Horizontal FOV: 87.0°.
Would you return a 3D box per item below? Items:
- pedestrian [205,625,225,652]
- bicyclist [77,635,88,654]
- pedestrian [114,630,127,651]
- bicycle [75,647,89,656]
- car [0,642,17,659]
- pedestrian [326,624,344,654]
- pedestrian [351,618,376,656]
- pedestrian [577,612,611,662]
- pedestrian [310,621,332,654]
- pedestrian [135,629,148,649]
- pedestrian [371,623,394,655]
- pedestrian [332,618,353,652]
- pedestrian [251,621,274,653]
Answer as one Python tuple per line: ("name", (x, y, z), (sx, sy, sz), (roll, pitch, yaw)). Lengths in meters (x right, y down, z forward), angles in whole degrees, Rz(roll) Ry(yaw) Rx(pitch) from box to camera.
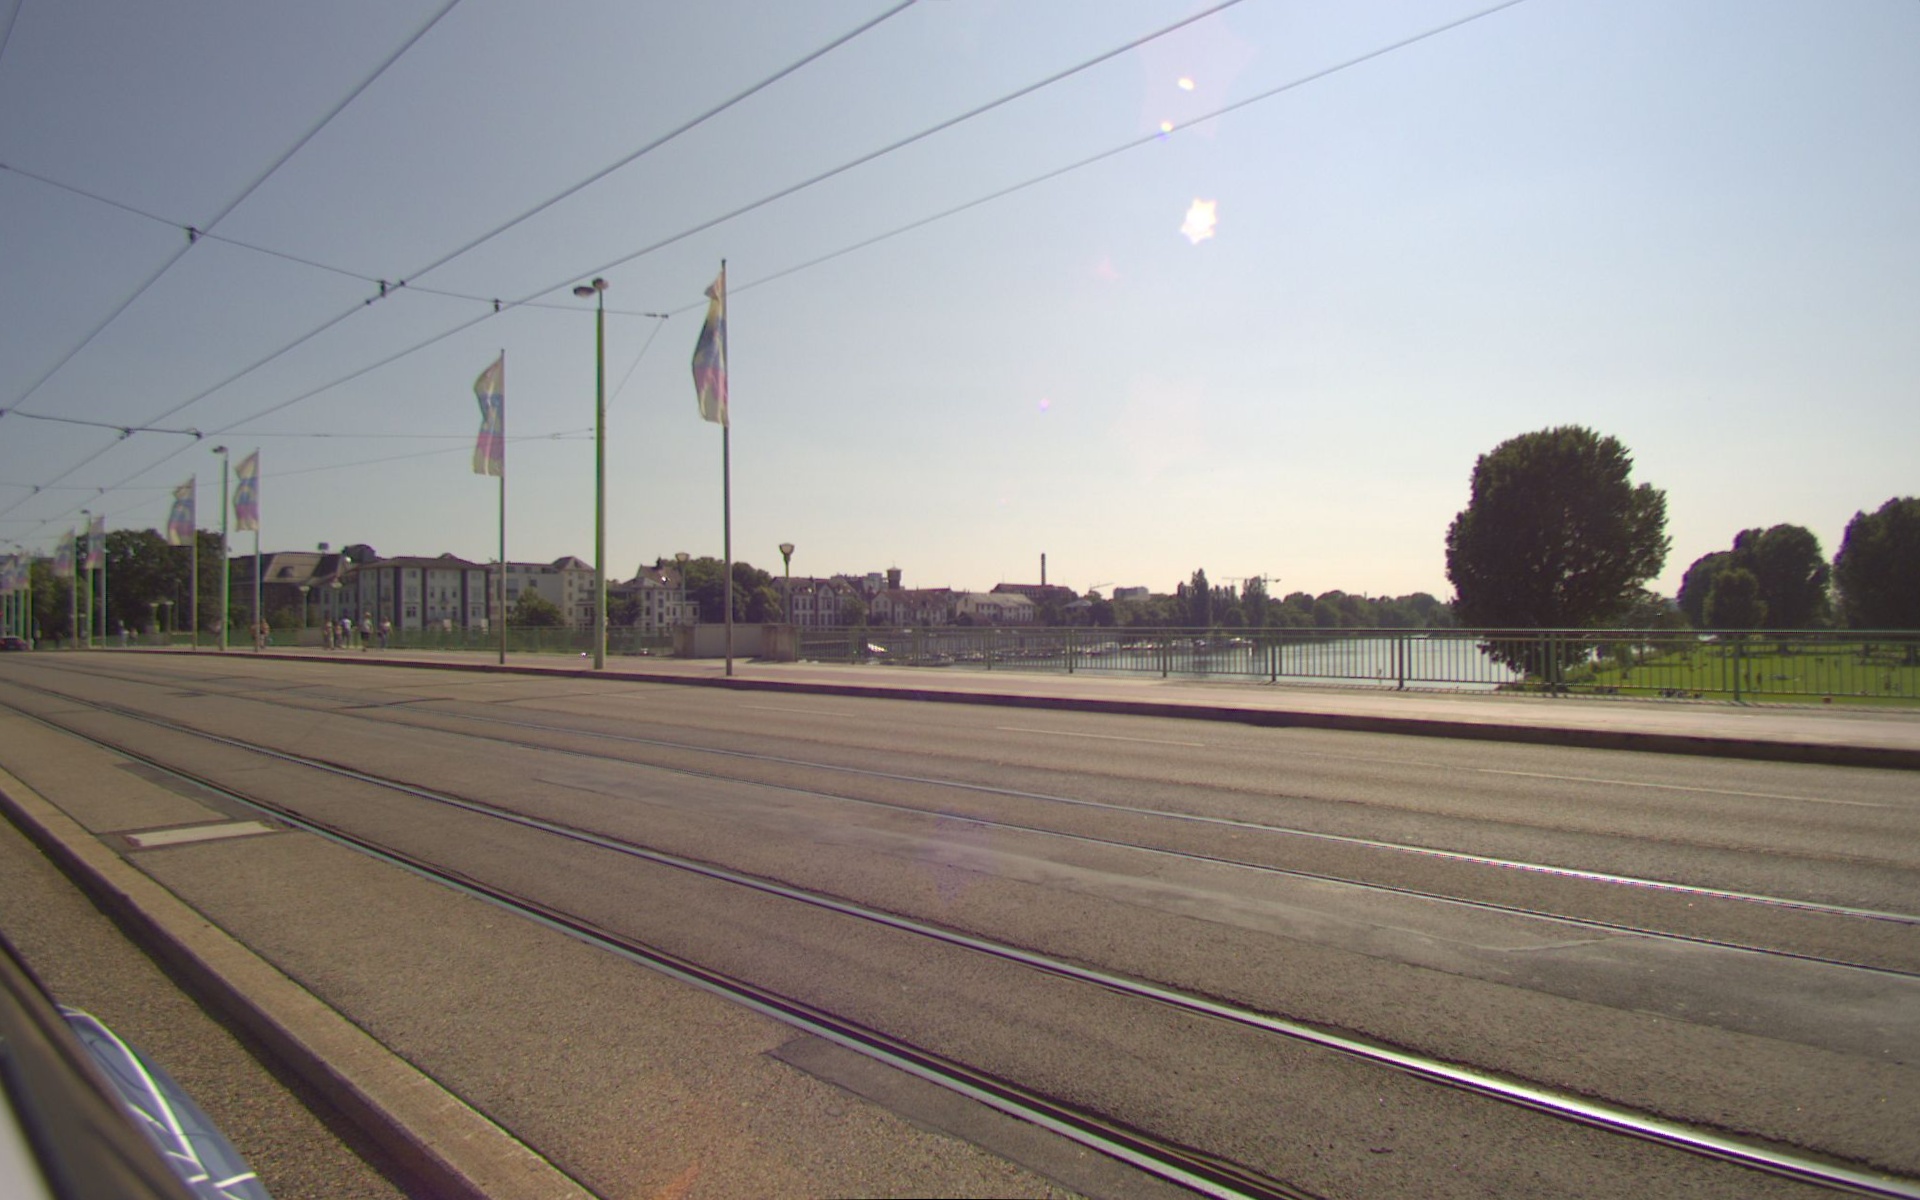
("pedestrian", (-48.029, 2.457, 65.241), (1.022, 1.712, 0.777), (-2, 1, 41))
("bicyclist", (-75.850, 3.840, 87.450), (0.621, 1.663, 0.657), (-2, -2, 42))
("pedestrian", (-71.614, 3.468, 86.343), (1.022, 1.712, 0.584), (-2, 3, 41))
("bicycle", (-75.879, 4.433, 87.463), (2.171, 0.721, 0.658), (-2, -2, 41))
("car", (-87.219, 4.566, 92.079), (3.899, 1.465, 1.698), (-2, -2, 41))
("pedestrian", (-31.485, 1.965, 50.992), (0.788, 1.448, 0.540), (-2, 0, 41))
("pedestrian", (-27.565, 1.710, 46.753), (1.022, 1.712, 0.663), (-2, 0, 41))
("pedestrian", (-12.867, 1.290, 35.543), (1.022, 1.703, 0.677), (-2, 0, 41))
("pedestrian", (-31.908, 1.877, 50.498), (1.022, 1.611, 0.620), (-2, 0, 41))
("pedestrian", (-69.862, 3.319, 86.370), (0.904, 1.712, 0.584), (-2, 3, 41))
("pedestrian", (-26.855, 1.809, 47.058), (1.022, 1.425, 0.584), (-2, 0, 41))
("pedestrian", (-32.082, 1.805, 52.583), (1.022, 1.712, 0.584), (-2, 0, 41))
("pedestrian", (-39.380, 2.077, 57.157), (1.022, 1.712, 0.777), (-2, 1, 41))
